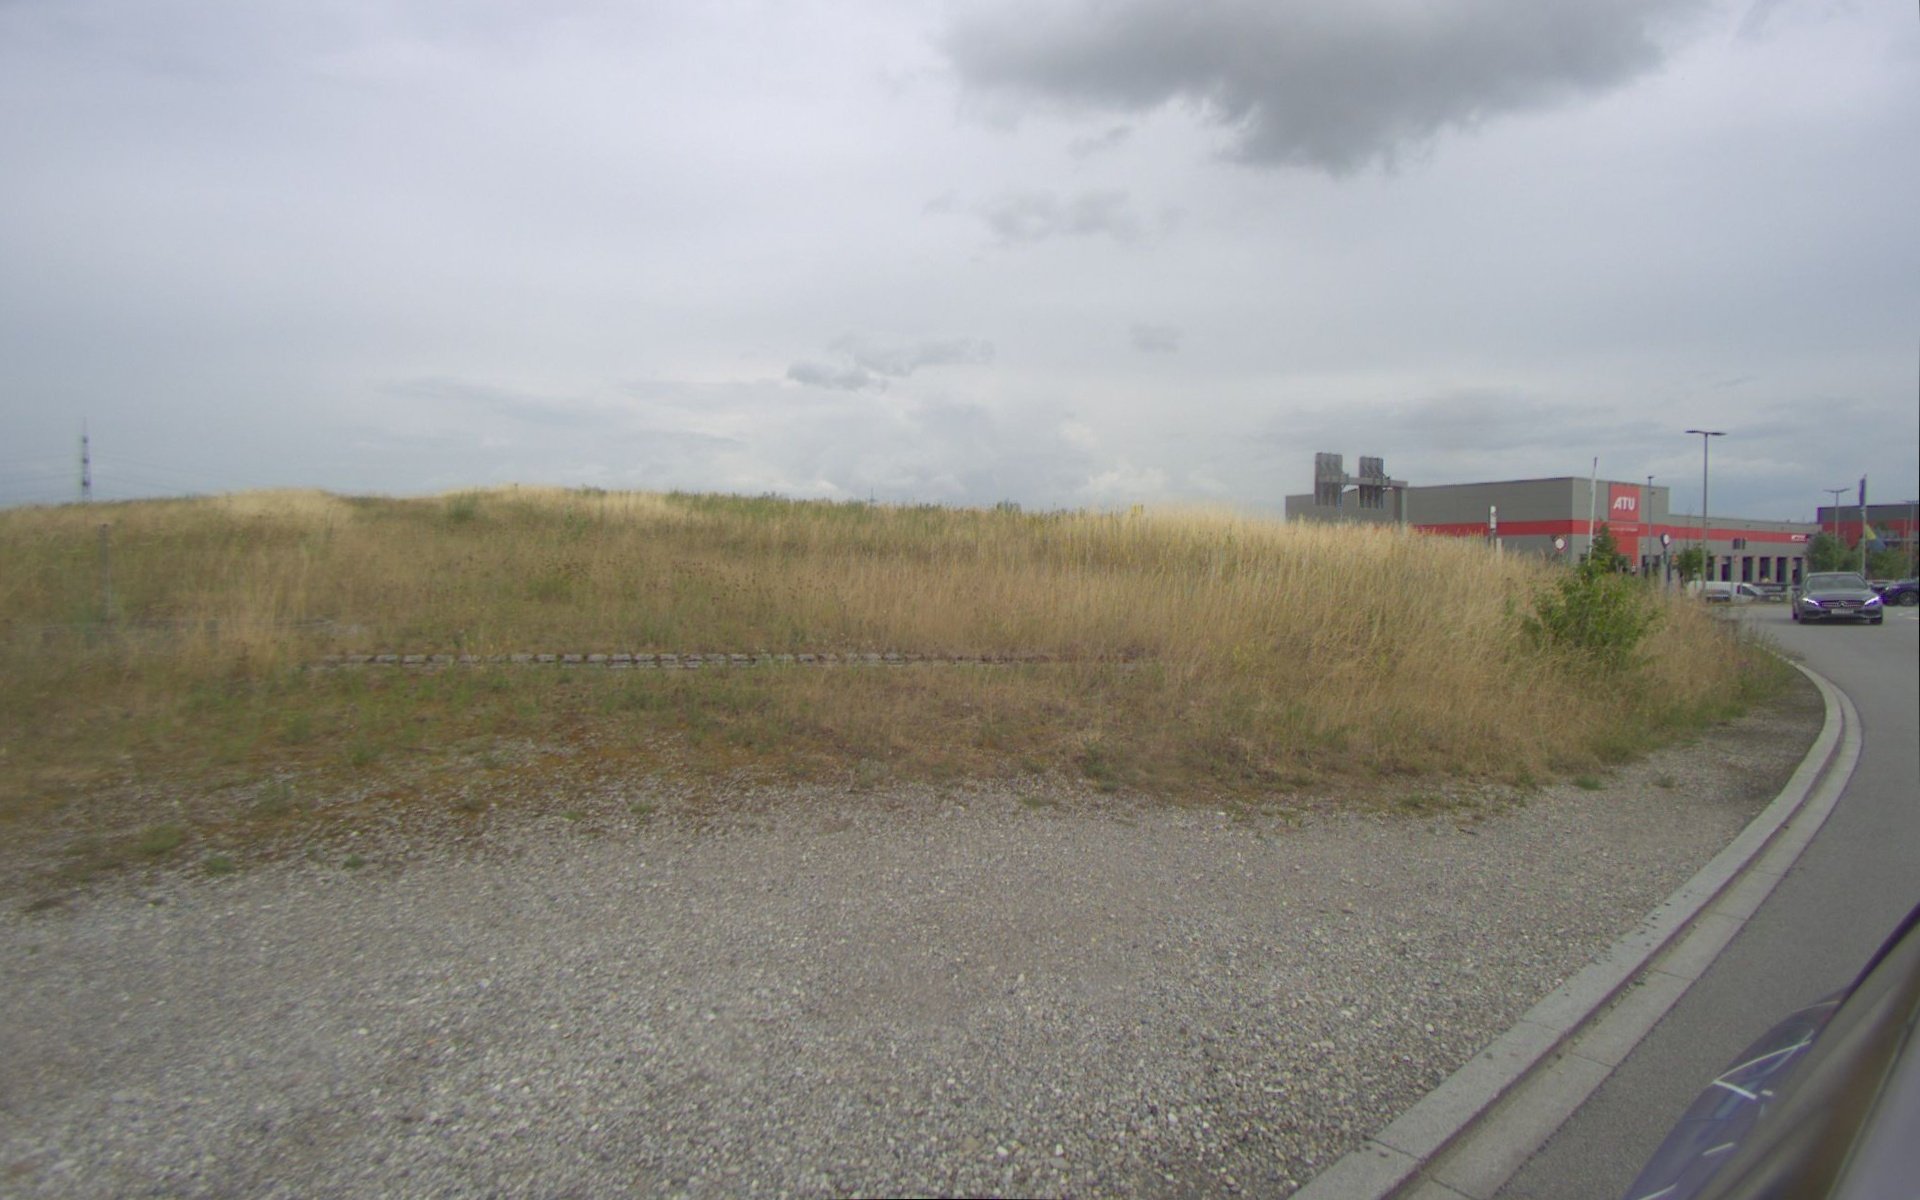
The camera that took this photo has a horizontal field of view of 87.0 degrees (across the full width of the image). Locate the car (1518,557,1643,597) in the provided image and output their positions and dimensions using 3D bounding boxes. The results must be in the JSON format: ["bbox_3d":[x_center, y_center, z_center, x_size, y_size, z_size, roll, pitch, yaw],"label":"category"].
[{"bbox_3d":[26.857,-1.005,43.963,1.747,1.649,4.436,-2,2,-23],"label":"car"}]

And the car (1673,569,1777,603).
[{"bbox_3d":[49.447,-0.908,65.523,1.964,2.073,5.075,-1,1,-38],"label":"car"}]

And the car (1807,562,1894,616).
[{"bbox_3d":[25.895,-0.331,29.384,1.759,1.438,4.028,-2,0,43],"label":"car"}]

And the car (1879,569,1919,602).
[{"bbox_3d":[44.003,-0.662,44.818,4.513,1.429,1.844,-1,1,27],"label":"car"}]
